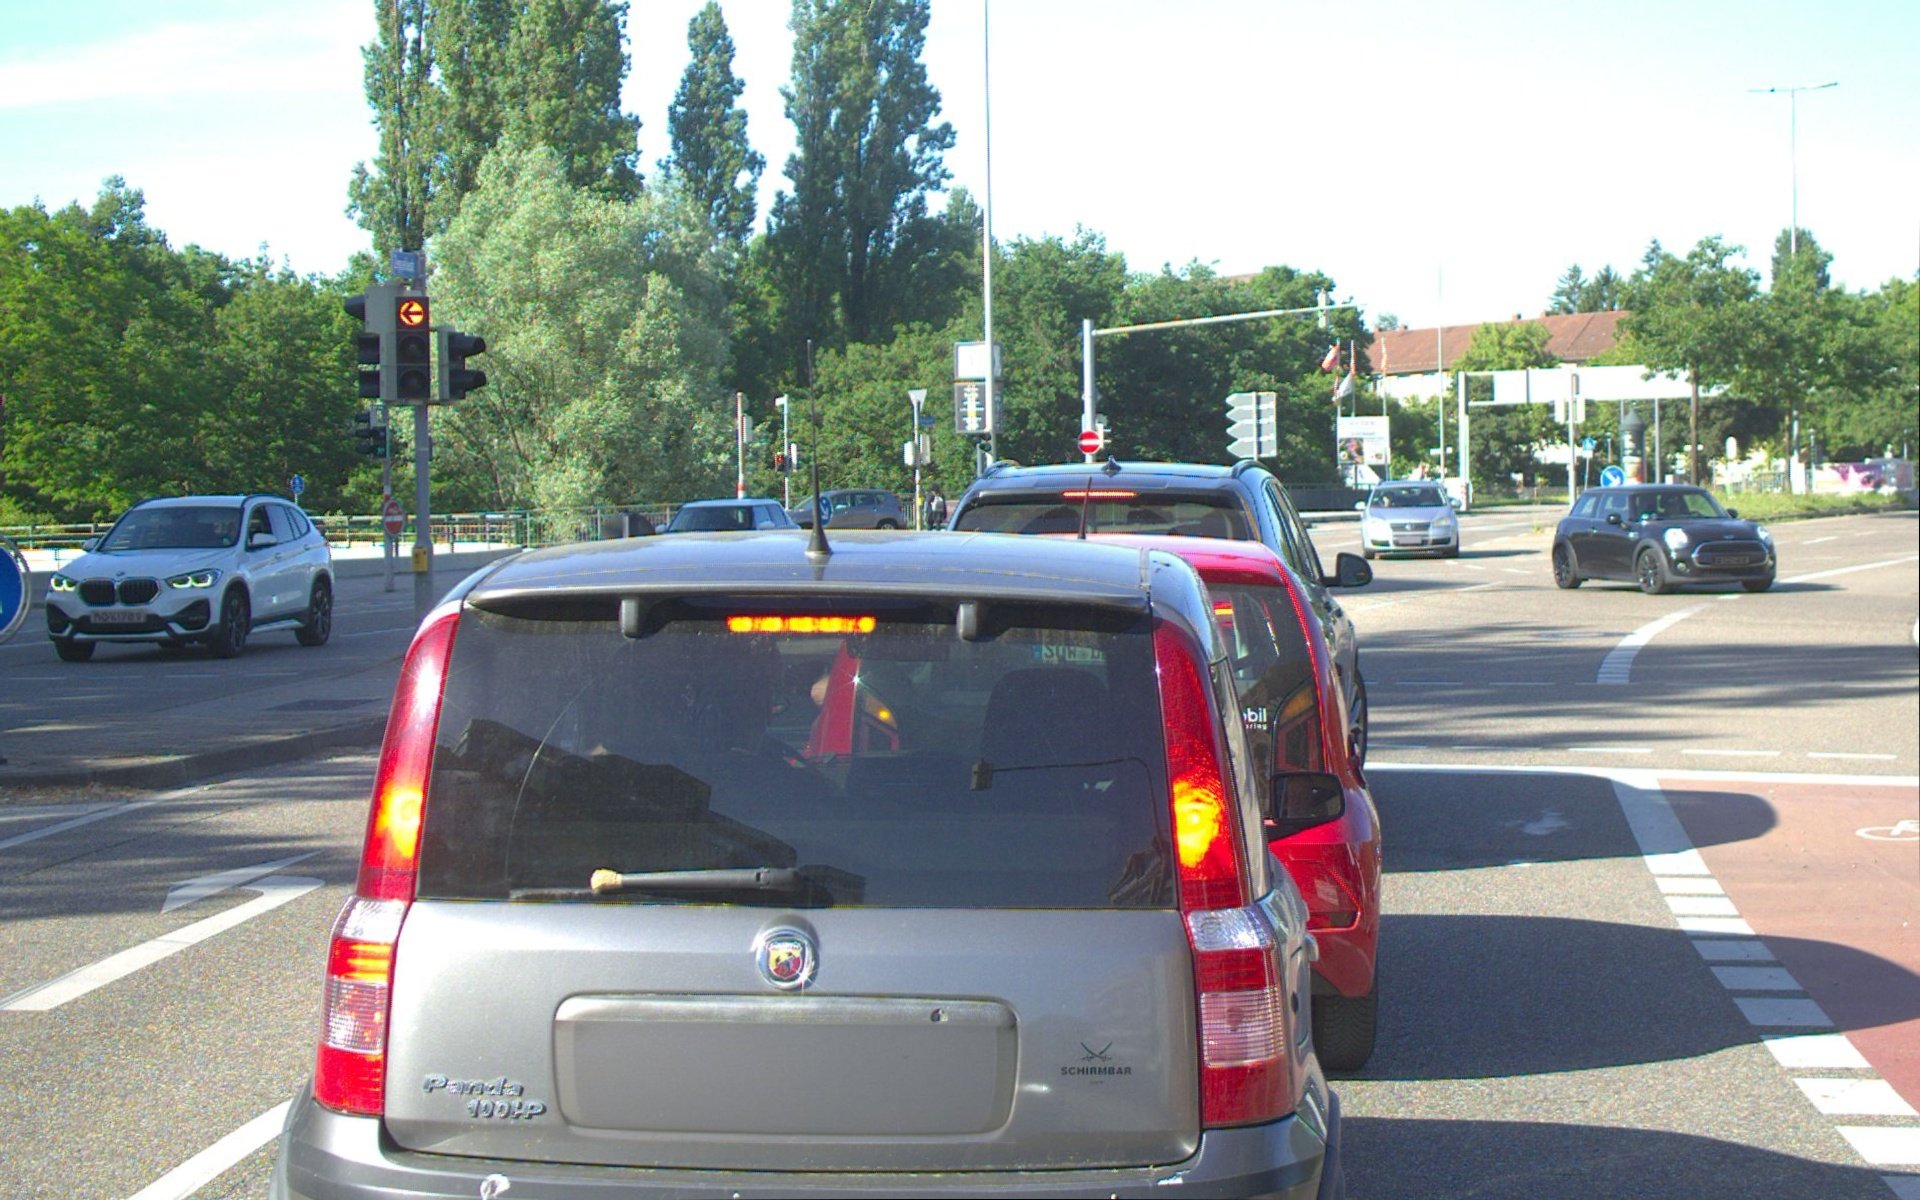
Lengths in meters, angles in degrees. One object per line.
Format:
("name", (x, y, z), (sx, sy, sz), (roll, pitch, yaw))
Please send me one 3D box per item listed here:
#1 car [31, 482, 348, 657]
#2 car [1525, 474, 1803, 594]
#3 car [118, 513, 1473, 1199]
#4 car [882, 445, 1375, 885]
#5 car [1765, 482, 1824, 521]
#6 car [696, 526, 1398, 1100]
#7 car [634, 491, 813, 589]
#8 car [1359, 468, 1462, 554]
("car", (-7.819, -0.366, 35.362), (1.834, 1.647, 4.628), (-1, 2, 5))
("car", (9.348, -0.848, 45.982), (1.993, 1.448, 4.001), (1, -1, -16))
("car", (-0.127, 0.606, 6.655), (1.820, 1.484, 4.000), (2, 2, 3))
("car", (0.947, 0.189, 16.383), (1.869, 1.784, 4.413), (1, 2, 9))
("car", (43.043, -5.063, 177.322), (2.016, 1.848, 4.424), (0, -1, 27))
("car", (0.312, 0.512, 11.010), (1.820, 1.474, 4.000), (1, 1, 3))
("car", (-3.626, -0.945, 53.388), (1.687, 1.452, 3.911), (0, 1, 13))
("car", (8.398, -1.692, 64.363), (1.751, 1.488, 4.349), (0, 3, 5))
